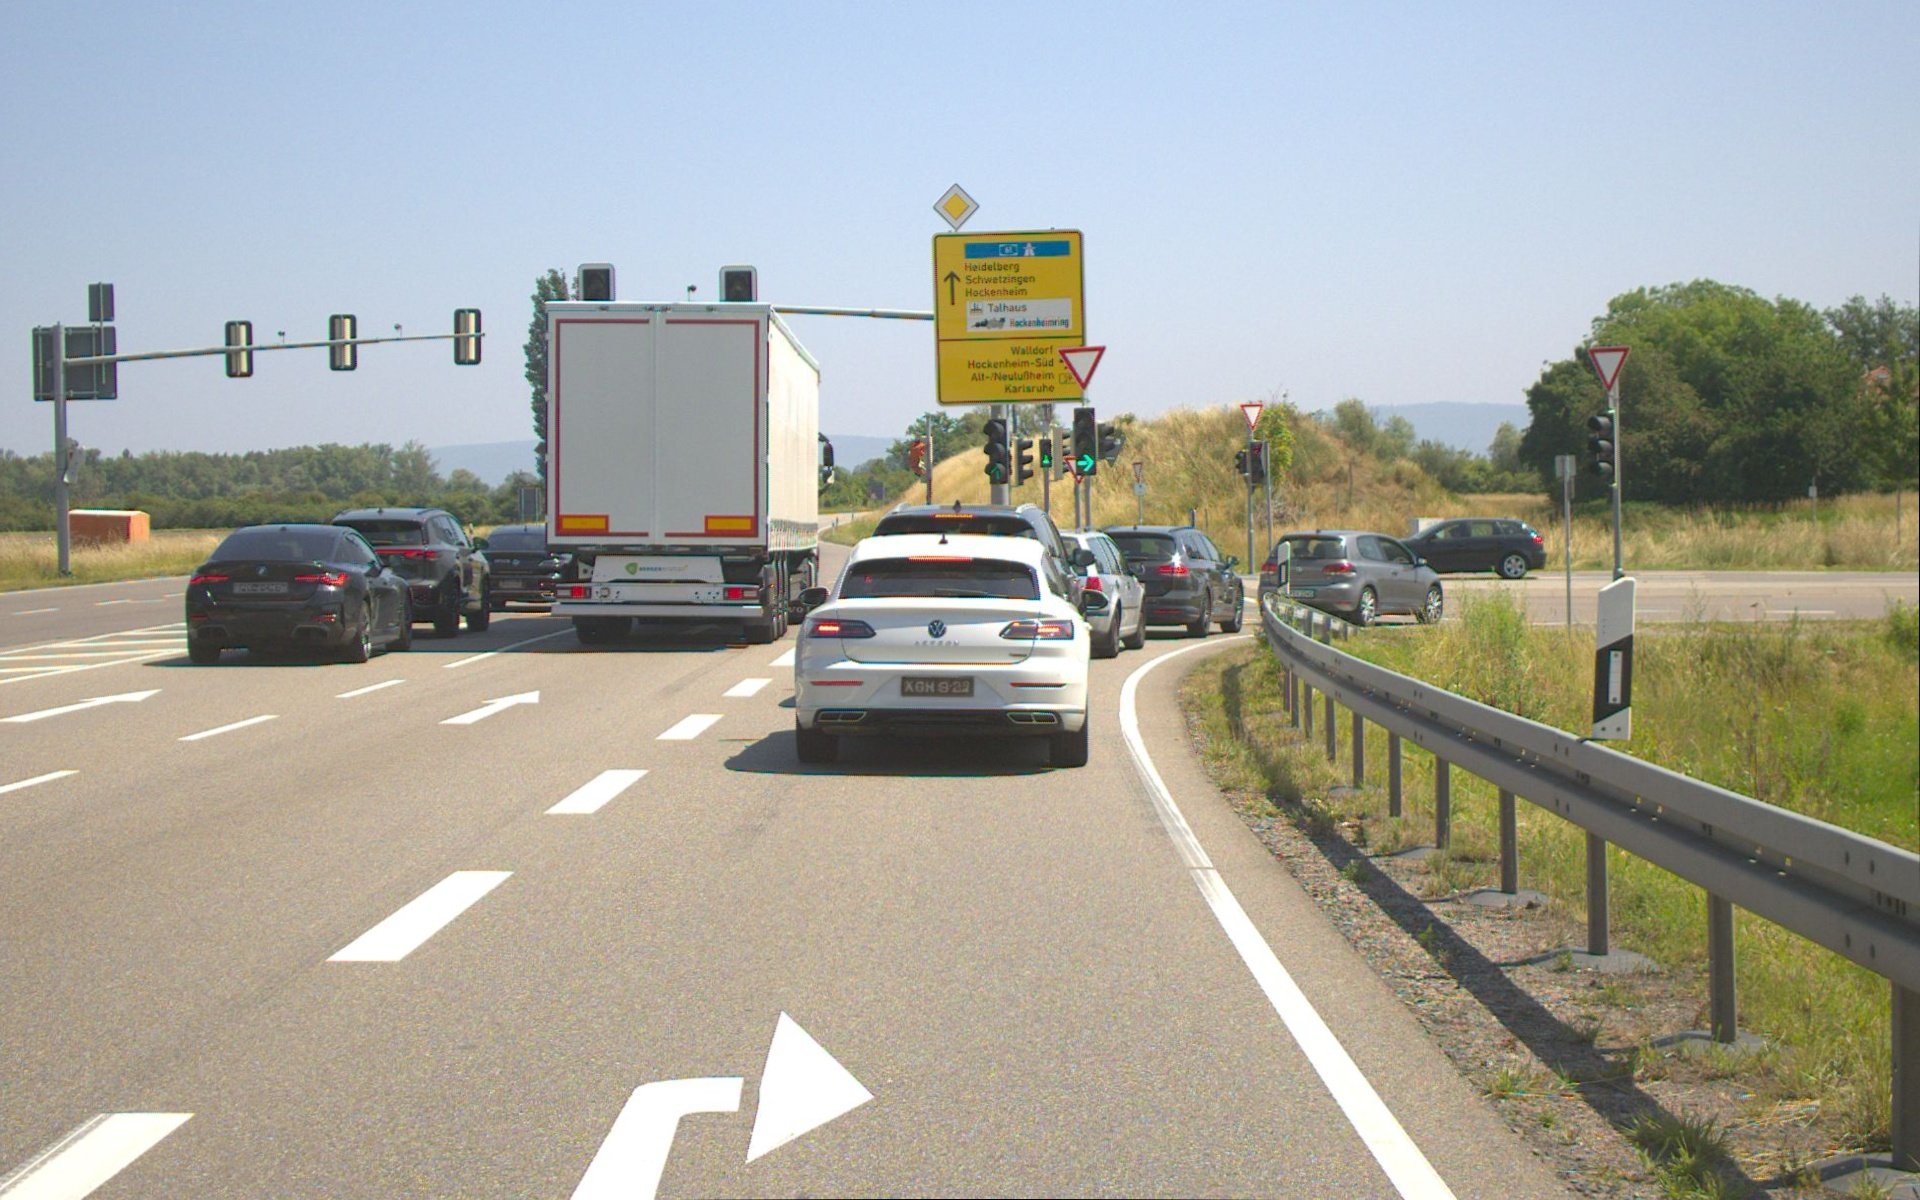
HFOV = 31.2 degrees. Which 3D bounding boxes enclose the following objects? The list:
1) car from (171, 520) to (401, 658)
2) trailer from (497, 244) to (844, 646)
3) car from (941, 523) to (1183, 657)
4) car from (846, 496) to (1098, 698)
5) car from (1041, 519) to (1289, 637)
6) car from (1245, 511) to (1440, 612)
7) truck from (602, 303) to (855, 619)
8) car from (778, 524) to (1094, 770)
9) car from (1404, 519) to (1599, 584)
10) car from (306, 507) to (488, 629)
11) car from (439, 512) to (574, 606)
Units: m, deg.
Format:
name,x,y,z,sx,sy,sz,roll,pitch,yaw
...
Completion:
name,x,y,z,sx,sy,sz,roll,pitch,yaw
car,-7.247,-0.153,37.325,1.809,1.393,4.022,1,1,-2
trailer,-3.502,-1.906,45.435,3.381,4.527,12.872,1,1,0
car,1.212,-0.140,38.900,1.801,1.424,4.090,1,1,16
car,0.180,-0.062,29.794,1.935,1.611,4.378,0,1,3
car,2.771,-0.314,45.445,1.802,1.471,4.409,1,1,25
car,6.020,-0.609,53.732,1.802,1.516,3.877,1,1,27
truck,-3.447,-2.089,52.936,3.381,4.527,6.373,1,1,0
car,-0.135,0.236,22.504,1.848,1.428,4.608,0,1,0
car,12.470,-1.131,79.361,4.260,1.364,1.776,-1,3,3
car,-7.272,-0.436,44.710,1.809,1.488,4.022,1,1,-2
car,-7.499,-0.692,57.155,1.809,1.488,4.022,1,1,-2
